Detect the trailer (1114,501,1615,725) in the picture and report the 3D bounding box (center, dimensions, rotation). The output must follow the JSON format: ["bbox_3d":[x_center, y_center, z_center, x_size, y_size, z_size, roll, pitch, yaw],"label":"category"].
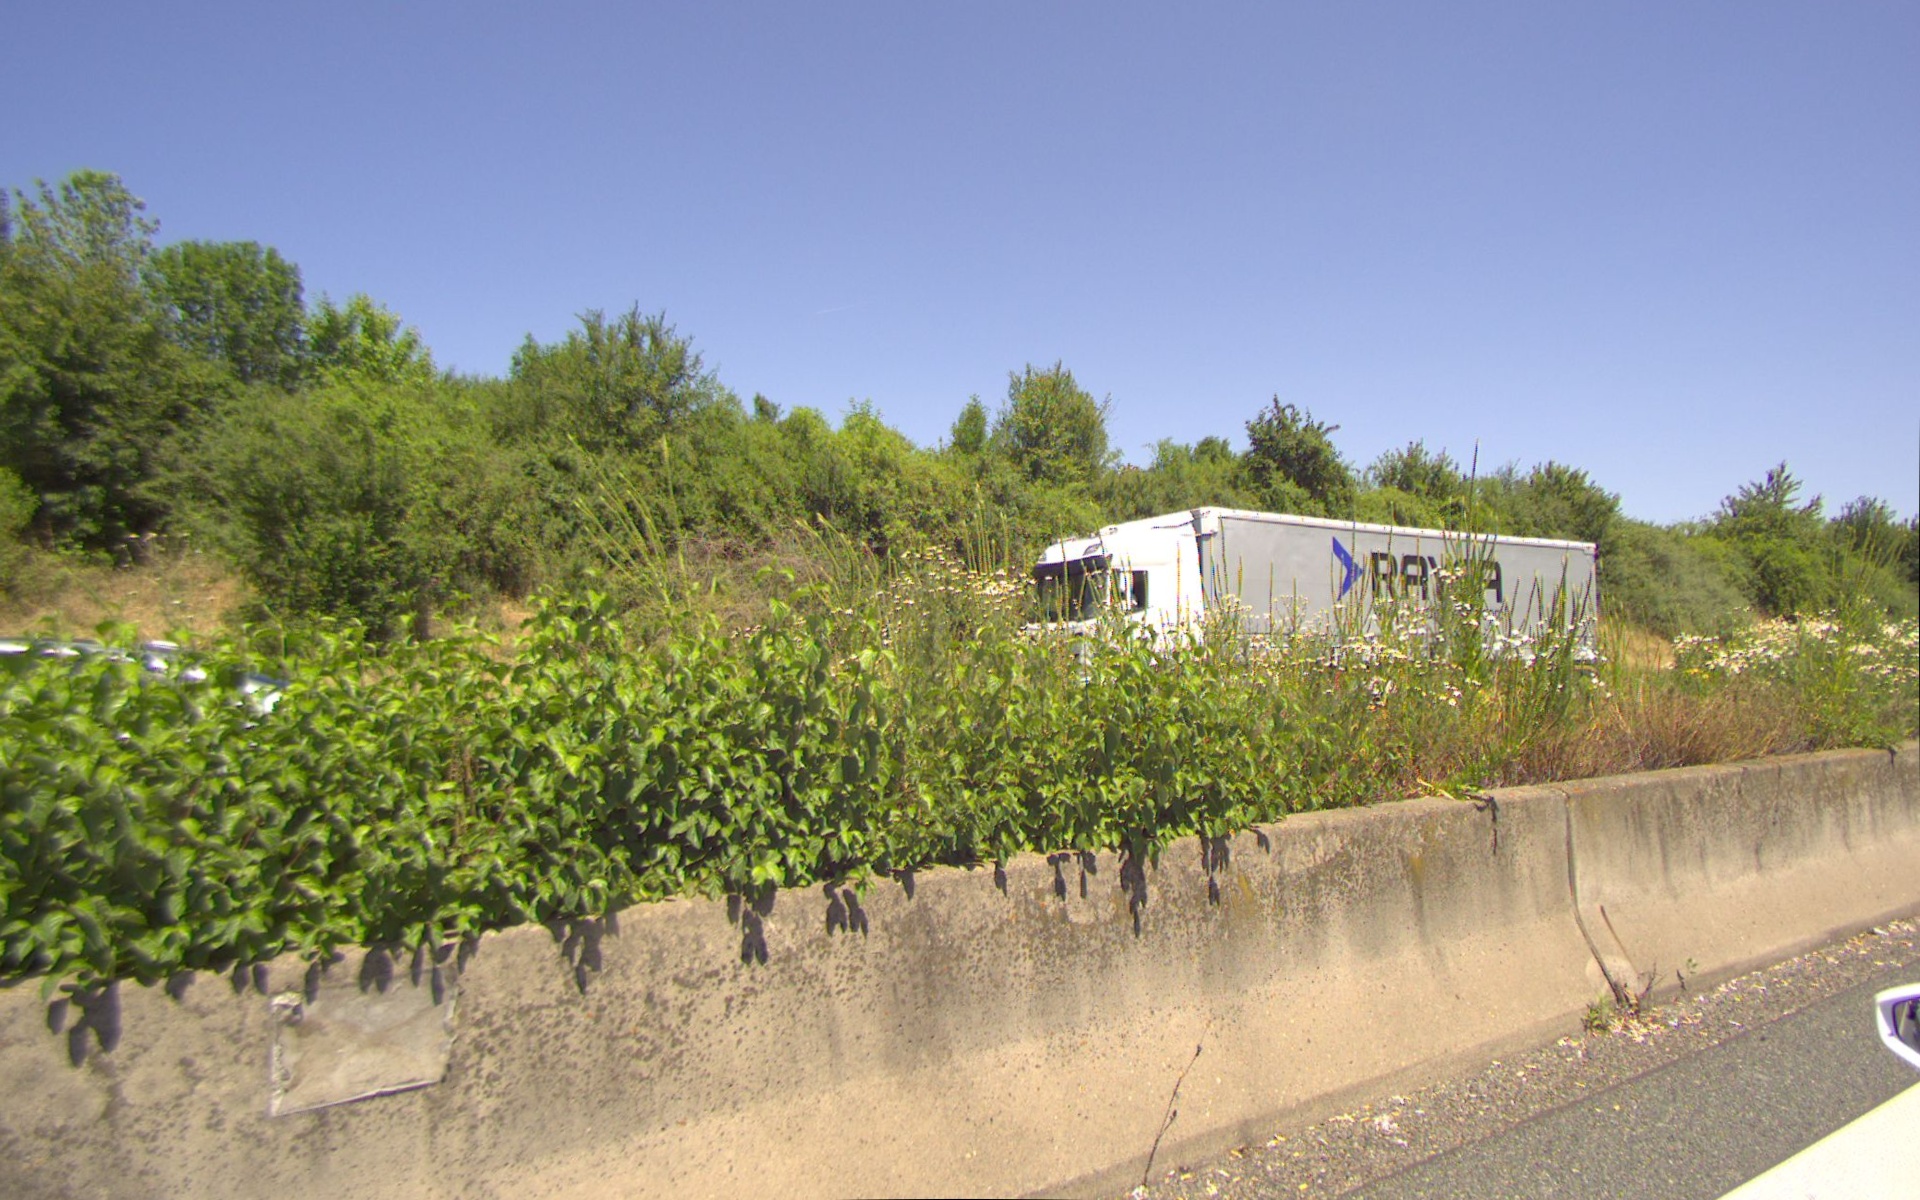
[{"bbox_3d":[10.069,0.491,23.744,13.854,4.220,3.004,1,-4,-30],"label":"trailer"}]

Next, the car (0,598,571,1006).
[{"bbox_3d":[-4.514,1.020,5.744,4.062,1.913,1.705,2,-5,-30],"label":"car"}]

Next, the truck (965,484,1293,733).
[{"bbox_3d":[3.324,0.297,19.780,5.737,4.220,3.004,1,-4,-30],"label":"truck"}]
